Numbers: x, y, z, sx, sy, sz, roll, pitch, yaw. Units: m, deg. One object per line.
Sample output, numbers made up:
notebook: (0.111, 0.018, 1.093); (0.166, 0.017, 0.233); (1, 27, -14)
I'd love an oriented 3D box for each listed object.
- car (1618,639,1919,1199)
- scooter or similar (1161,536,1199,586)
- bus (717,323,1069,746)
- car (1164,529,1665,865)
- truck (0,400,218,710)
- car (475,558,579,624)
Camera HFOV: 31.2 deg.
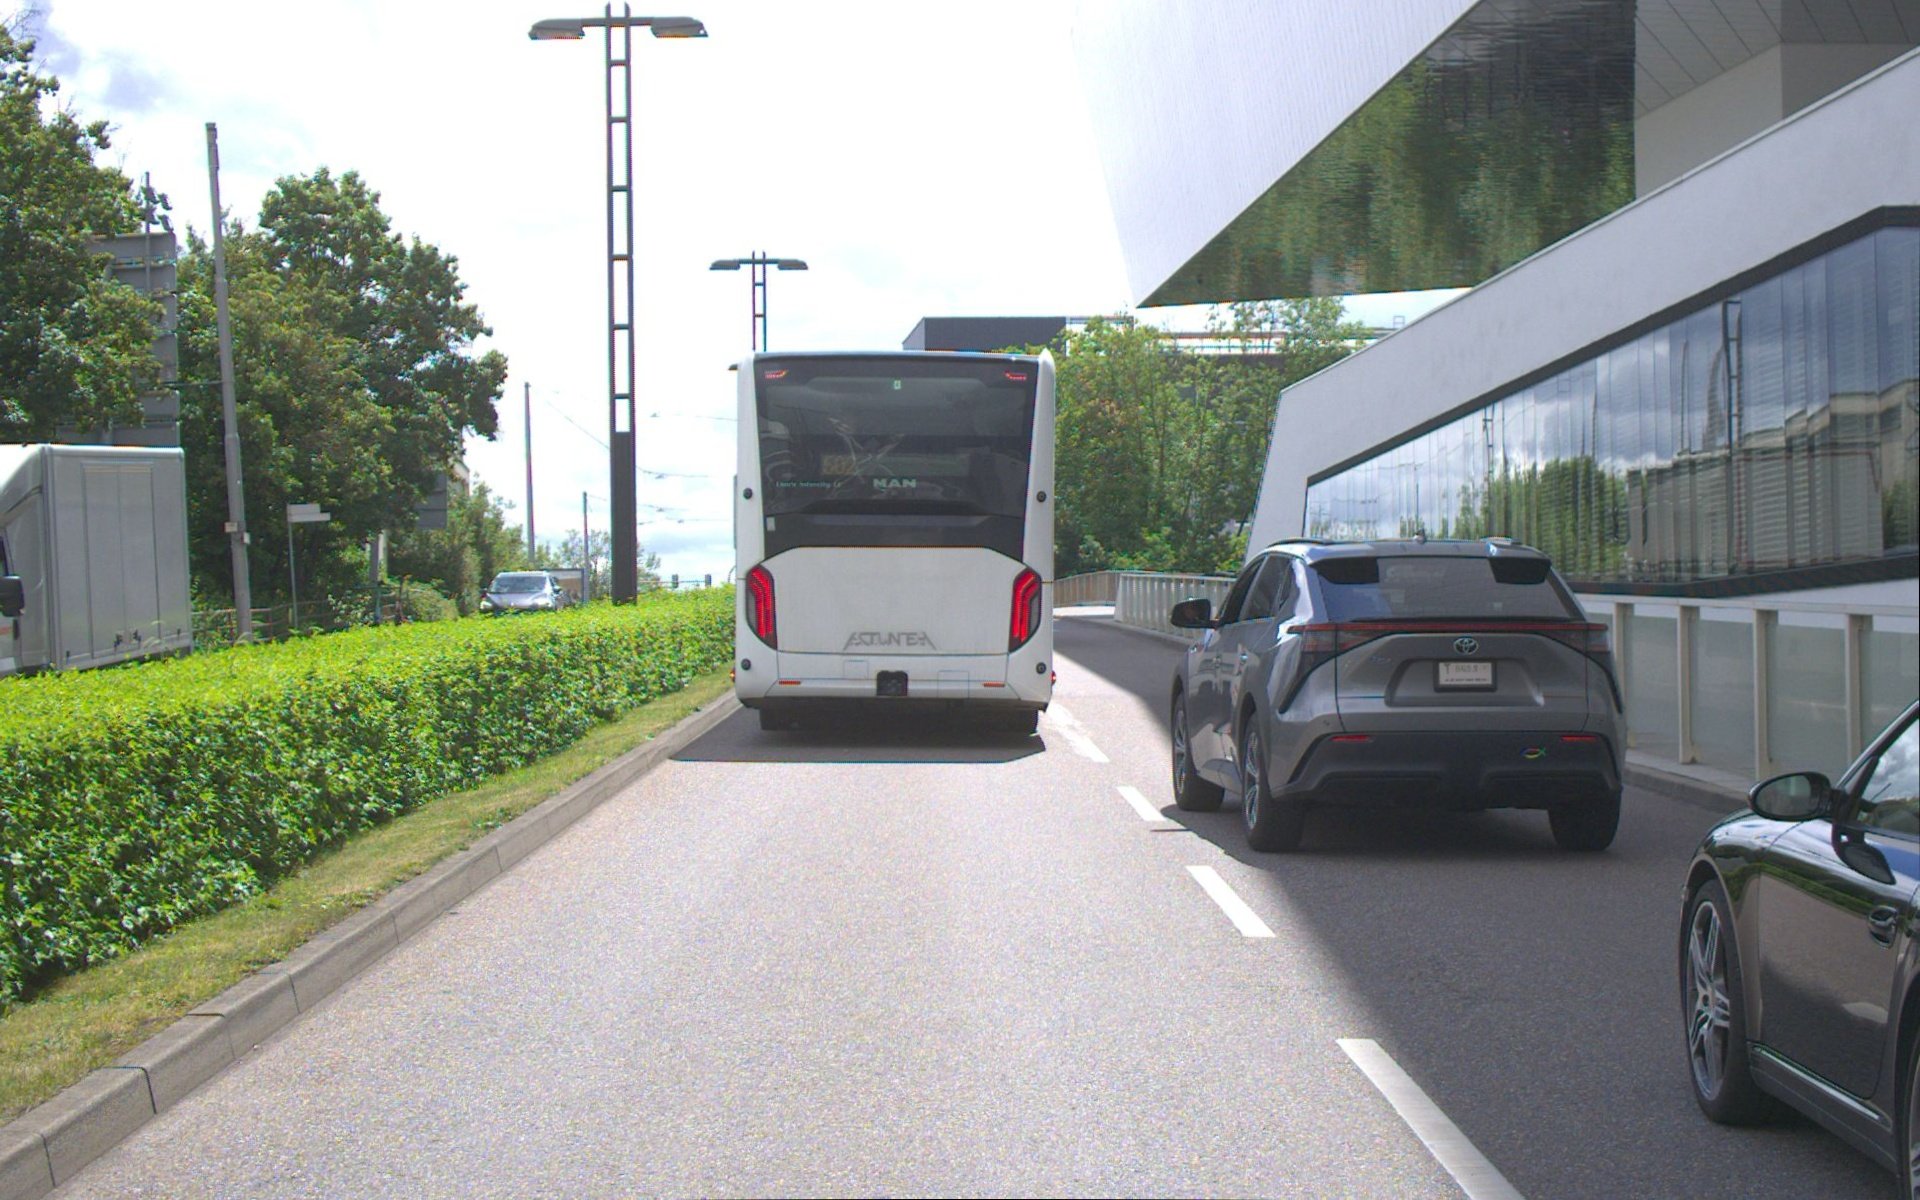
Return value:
car: (2.749, 0.748, 7.642); (1.719, 1.271, 4.088); (0, 0, -1)
scooter or similar: (5.457, -0.960, 85.261); (0.653, 1.210, 1.858); (-2, 0, -4)
bus: (-0.574, -0.625, 32.740); (2.689, 3.244, 12.058); (1, 1, 0)
car: (2.304, 0.468, 18.549); (1.879, 1.589, 4.230); (1, 0, -4)
truck: (-10.230, -0.547, 35.851); (2.855, 2.847, 9.377); (-1, 2, 0)
car: (-10.376, -0.221, 82.728); (1.840, 1.502, 4.561); (-1, 0, 1)
